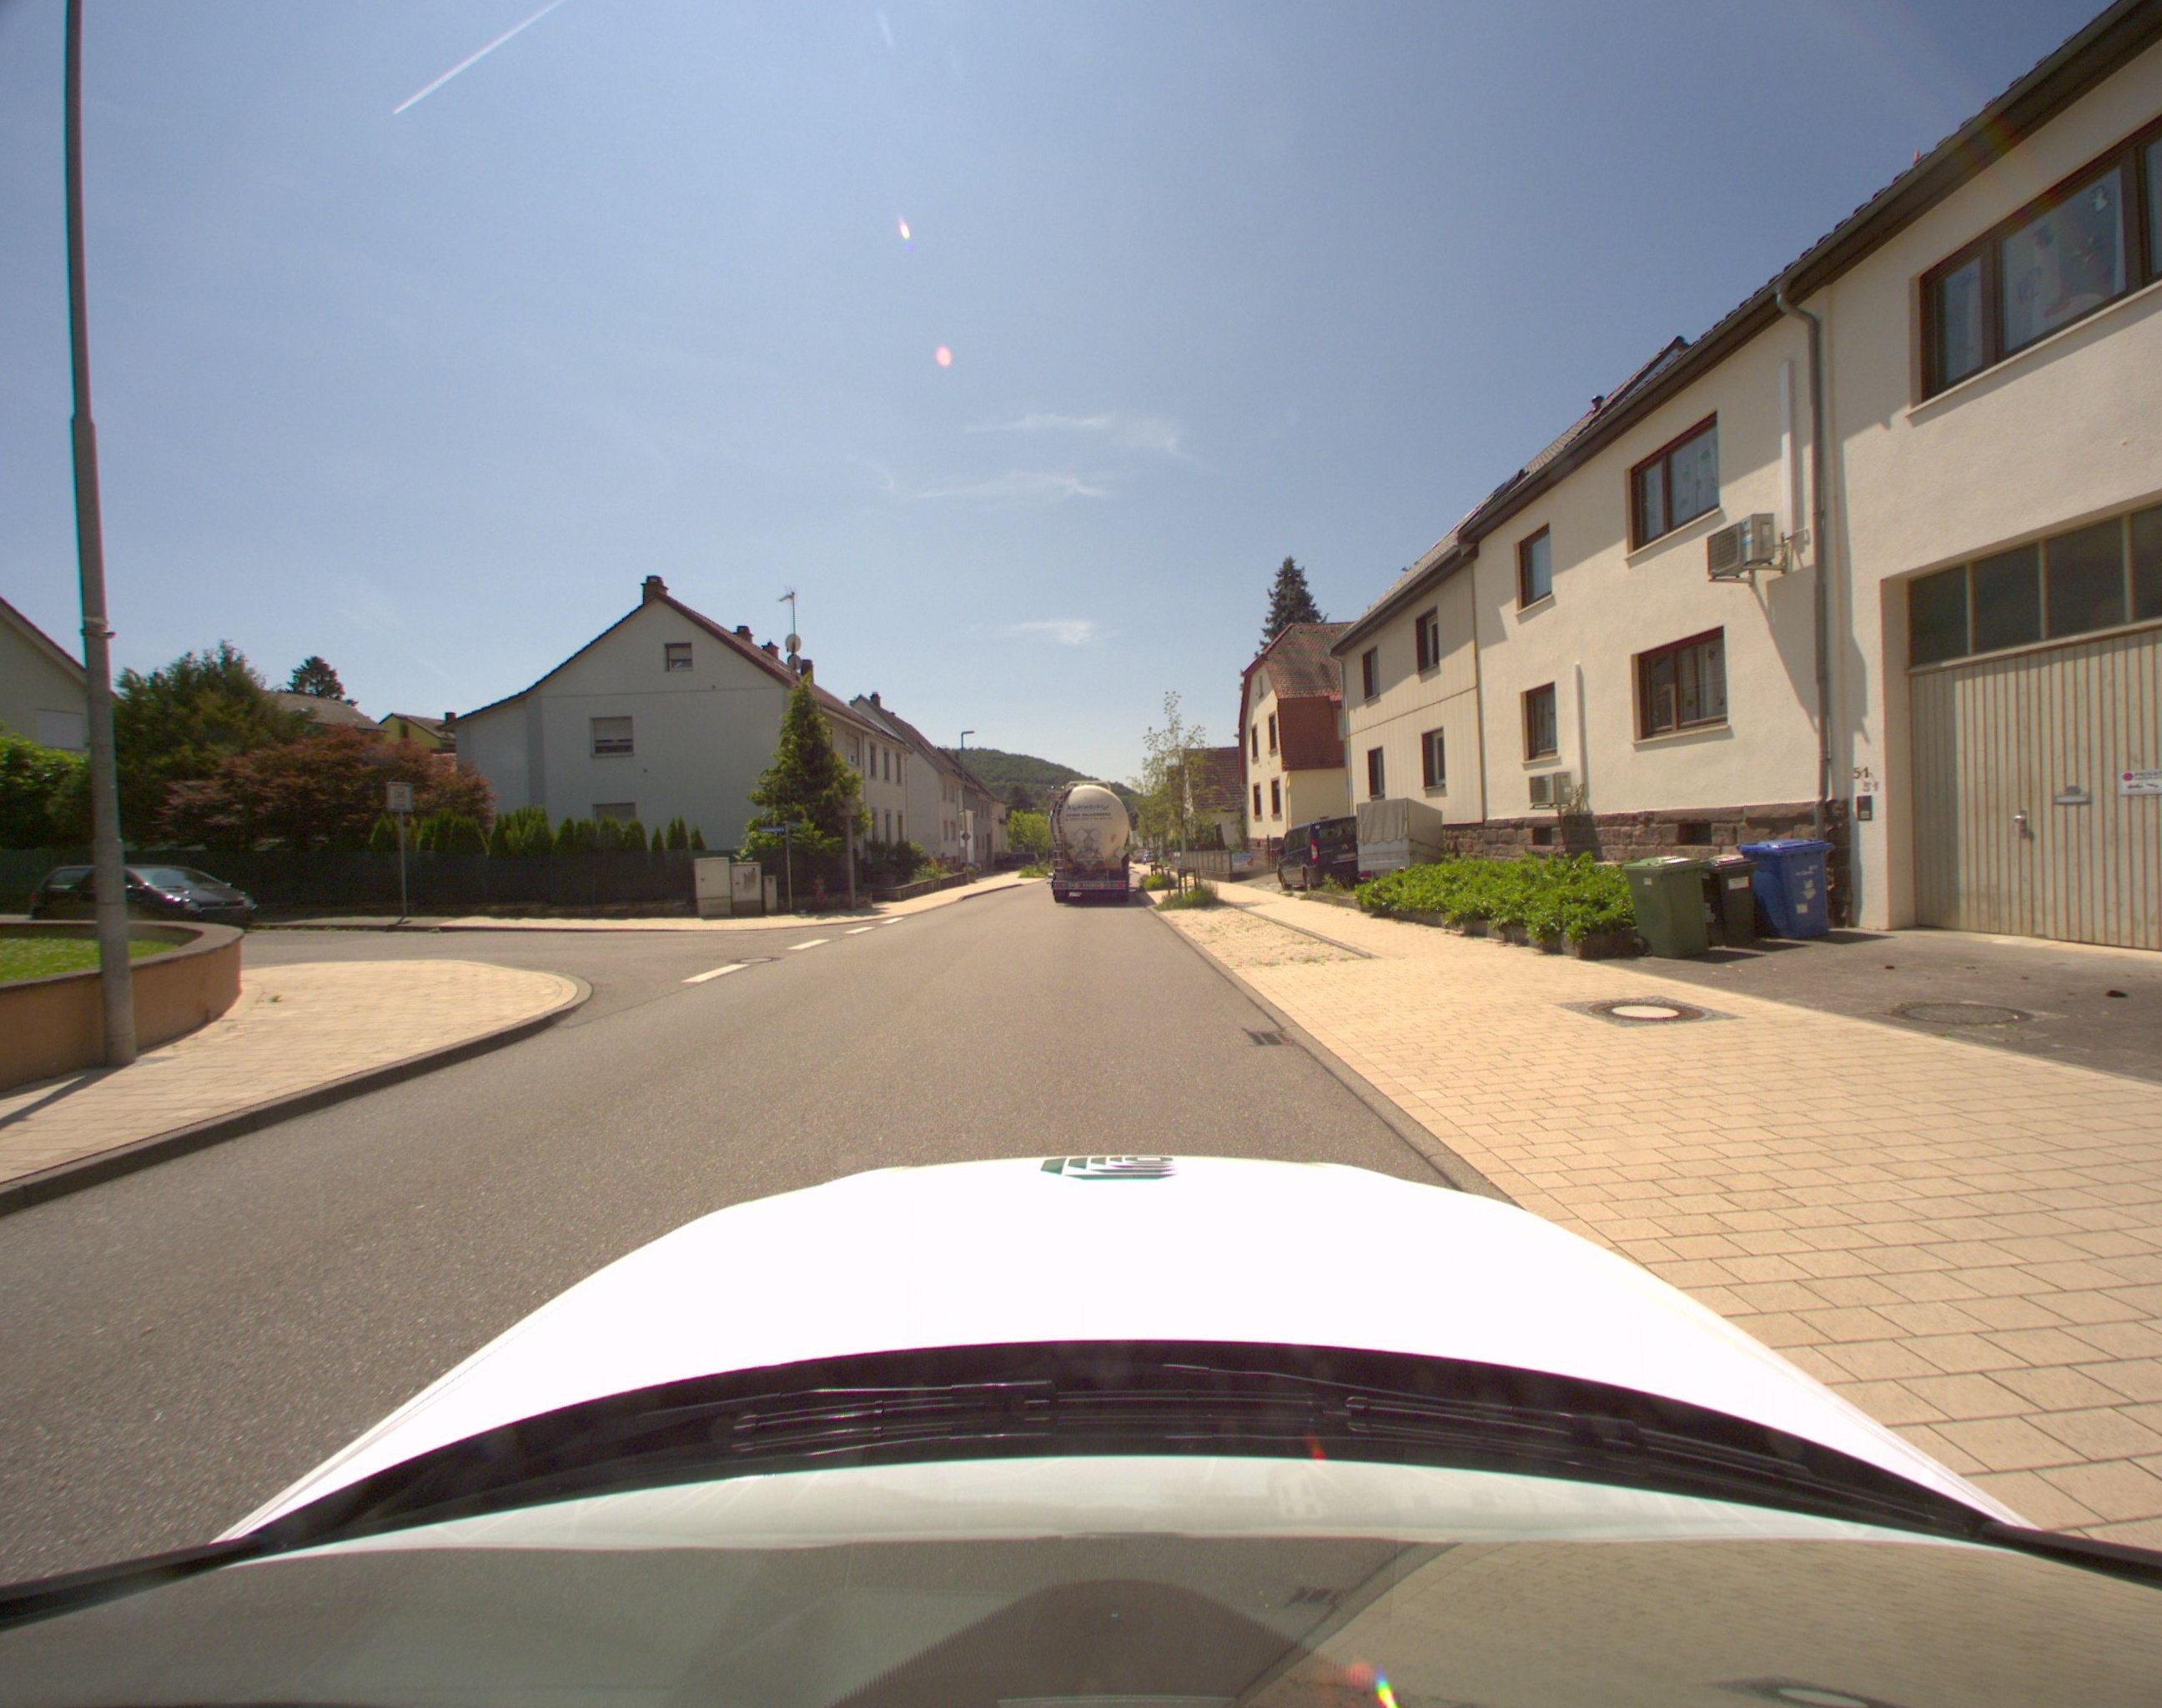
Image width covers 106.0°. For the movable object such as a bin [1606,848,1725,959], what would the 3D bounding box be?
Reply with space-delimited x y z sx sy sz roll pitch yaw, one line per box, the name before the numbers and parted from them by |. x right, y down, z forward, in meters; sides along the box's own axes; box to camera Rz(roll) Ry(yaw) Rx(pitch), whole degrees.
movable object such as a bin | 6.461 0.530 9.050 0.680 1.115 0.813 -5 -1 6

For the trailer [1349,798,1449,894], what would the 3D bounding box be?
trailer | 7.186 -0.167 18.353 1.307 2.014 2.287 -1 -1 43

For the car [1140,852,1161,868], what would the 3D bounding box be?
car | 7.814 0.668 91.676 1.785 1.541 4.519 -7 -1 1

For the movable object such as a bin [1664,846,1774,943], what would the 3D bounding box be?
movable object such as a bin | 7.143 0.438 9.156 0.555 0.986 0.804 -6 -1 7

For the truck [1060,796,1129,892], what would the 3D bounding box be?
truck | 0.636 -0.417 36.921 2.798 3.937 6.100 -1 0 1

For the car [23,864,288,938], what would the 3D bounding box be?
car | -19.263 0.940 17.053 3.725 1.416 1.754 0 0 5

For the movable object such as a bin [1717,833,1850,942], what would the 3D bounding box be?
movable object such as a bin | 7.823 0.361 9.117 0.681 1.106 0.864 -5 -1 7

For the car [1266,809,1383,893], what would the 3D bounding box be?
car | 6.794 -0.073 23.271 1.845 1.971 4.775 -6 0 2

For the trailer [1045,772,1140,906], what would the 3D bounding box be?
trailer | 0.467 -0.443 29.962 2.786 4.001 10.326 -1 0 1

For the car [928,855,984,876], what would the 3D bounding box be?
car | -9.563 0.893 62.651 3.973 1.545 1.833 -1 0 1

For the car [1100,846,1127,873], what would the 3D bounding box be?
car | 2.443 0.418 61.449 1.986 1.904 4.002 -1 0 2

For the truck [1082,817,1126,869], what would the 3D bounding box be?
truck | 2.232 -1.063 83.743 3.899 4.895 9.790 -3 0 -1

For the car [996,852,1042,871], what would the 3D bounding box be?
car | -6.198 0.743 81.315 4.381 1.750 1.878 -1 0 -1
